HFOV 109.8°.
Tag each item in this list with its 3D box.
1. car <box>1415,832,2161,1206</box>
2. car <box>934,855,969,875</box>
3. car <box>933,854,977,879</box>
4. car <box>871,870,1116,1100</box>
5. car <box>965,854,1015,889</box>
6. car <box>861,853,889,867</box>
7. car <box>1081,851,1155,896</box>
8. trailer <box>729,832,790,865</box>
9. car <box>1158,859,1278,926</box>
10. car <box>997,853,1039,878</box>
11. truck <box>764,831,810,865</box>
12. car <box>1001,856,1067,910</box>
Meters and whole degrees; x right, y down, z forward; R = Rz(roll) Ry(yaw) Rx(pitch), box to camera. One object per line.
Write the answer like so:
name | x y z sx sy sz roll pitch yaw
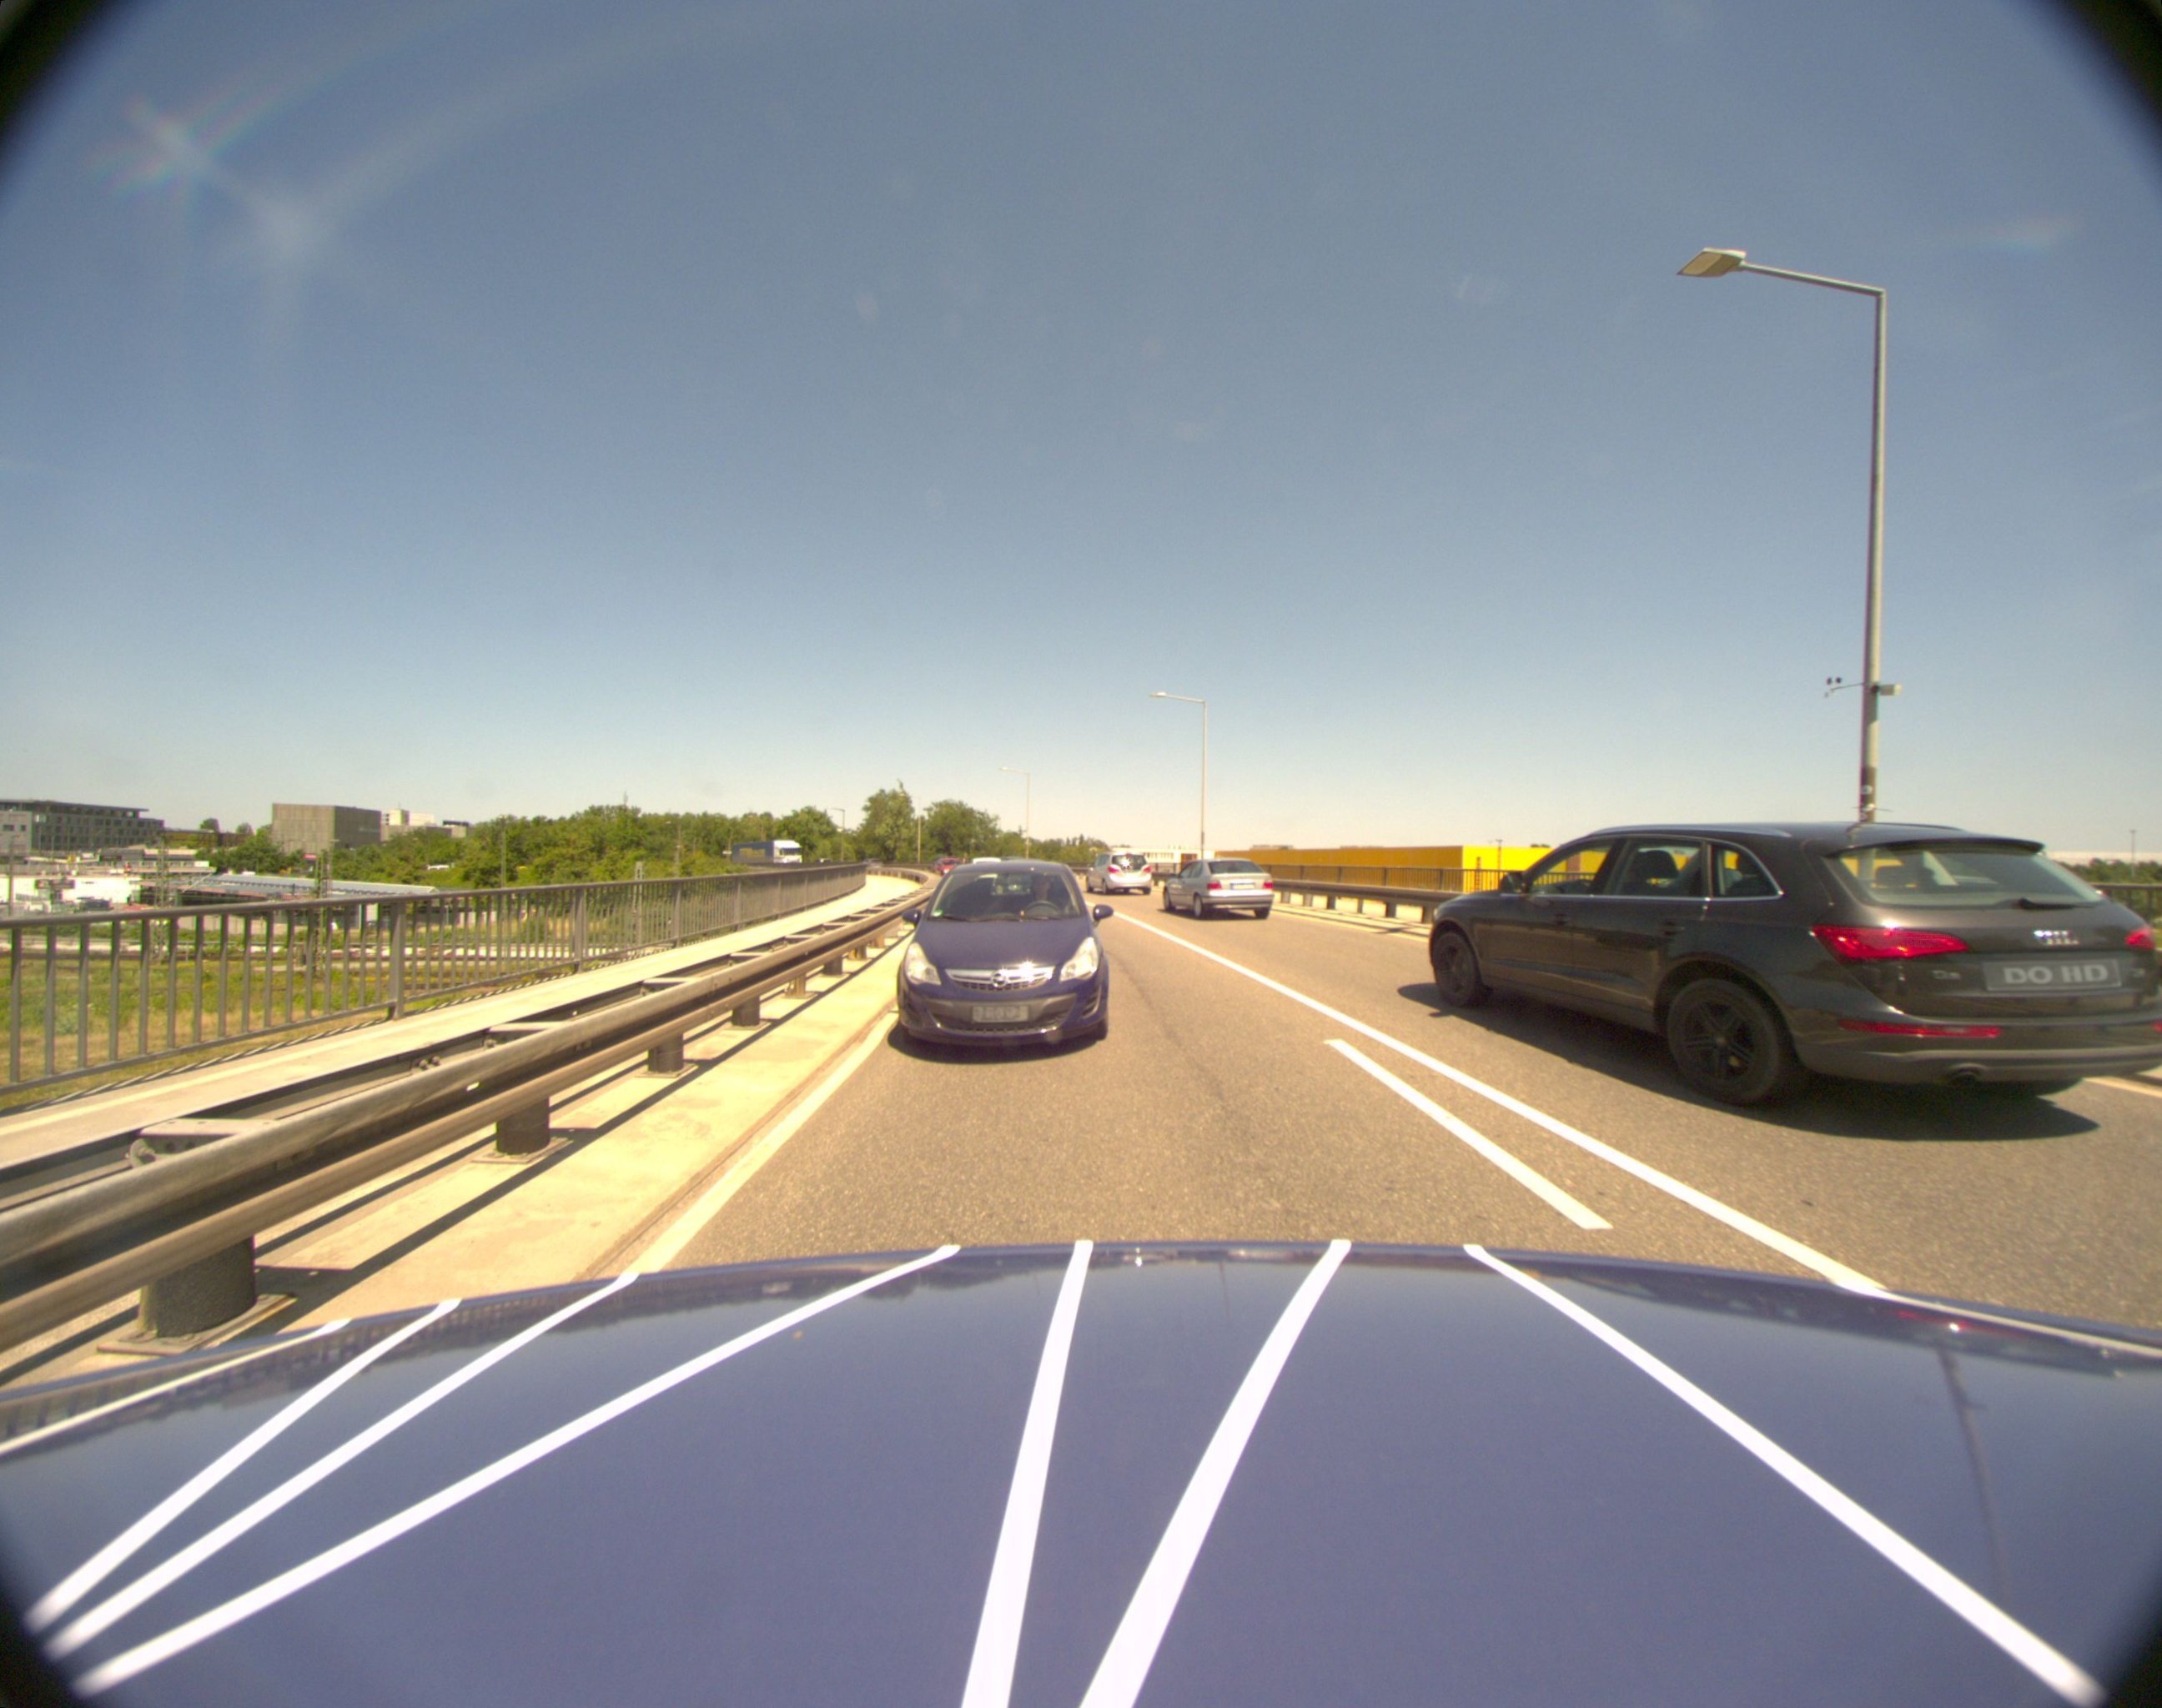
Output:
car | 4.404 0.715 5.547 1.806 1.631 4.299 -1 0 -4
car | -11.060 0.878 64.906 1.780 1.616 4.244 -1 1 -26
car | -8.156 0.767 48.710 1.798 1.446 4.514 0 0 -23
car | -0.701 0.940 7.241 1.645 1.431 3.998 -2 0 -3
car | -4.211 0.753 34.639 1.796 1.447 4.518 -2 1 -13
car | -22.959 0.642 84.686 1.784 1.499 4.183 -1 0 -33
car | 1.341 0.684 29.035 1.743 1.571 4.171 -1 1 -13
trailer | -43.947 -0.644 103.544 12.676 4.210 2.707 -1 2 44
car | 3.159 0.833 18.336 1.702 1.368 3.997 -1 1 -8
car | -3.985 0.680 47.514 1.779 1.430 4.385 -1 0 -16
truck | -37.791 -0.745 97.654 6.820 4.204 2.702 -1 2 43
car | -1.577 0.839 23.953 1.795 1.446 4.520 -1 0 -7
